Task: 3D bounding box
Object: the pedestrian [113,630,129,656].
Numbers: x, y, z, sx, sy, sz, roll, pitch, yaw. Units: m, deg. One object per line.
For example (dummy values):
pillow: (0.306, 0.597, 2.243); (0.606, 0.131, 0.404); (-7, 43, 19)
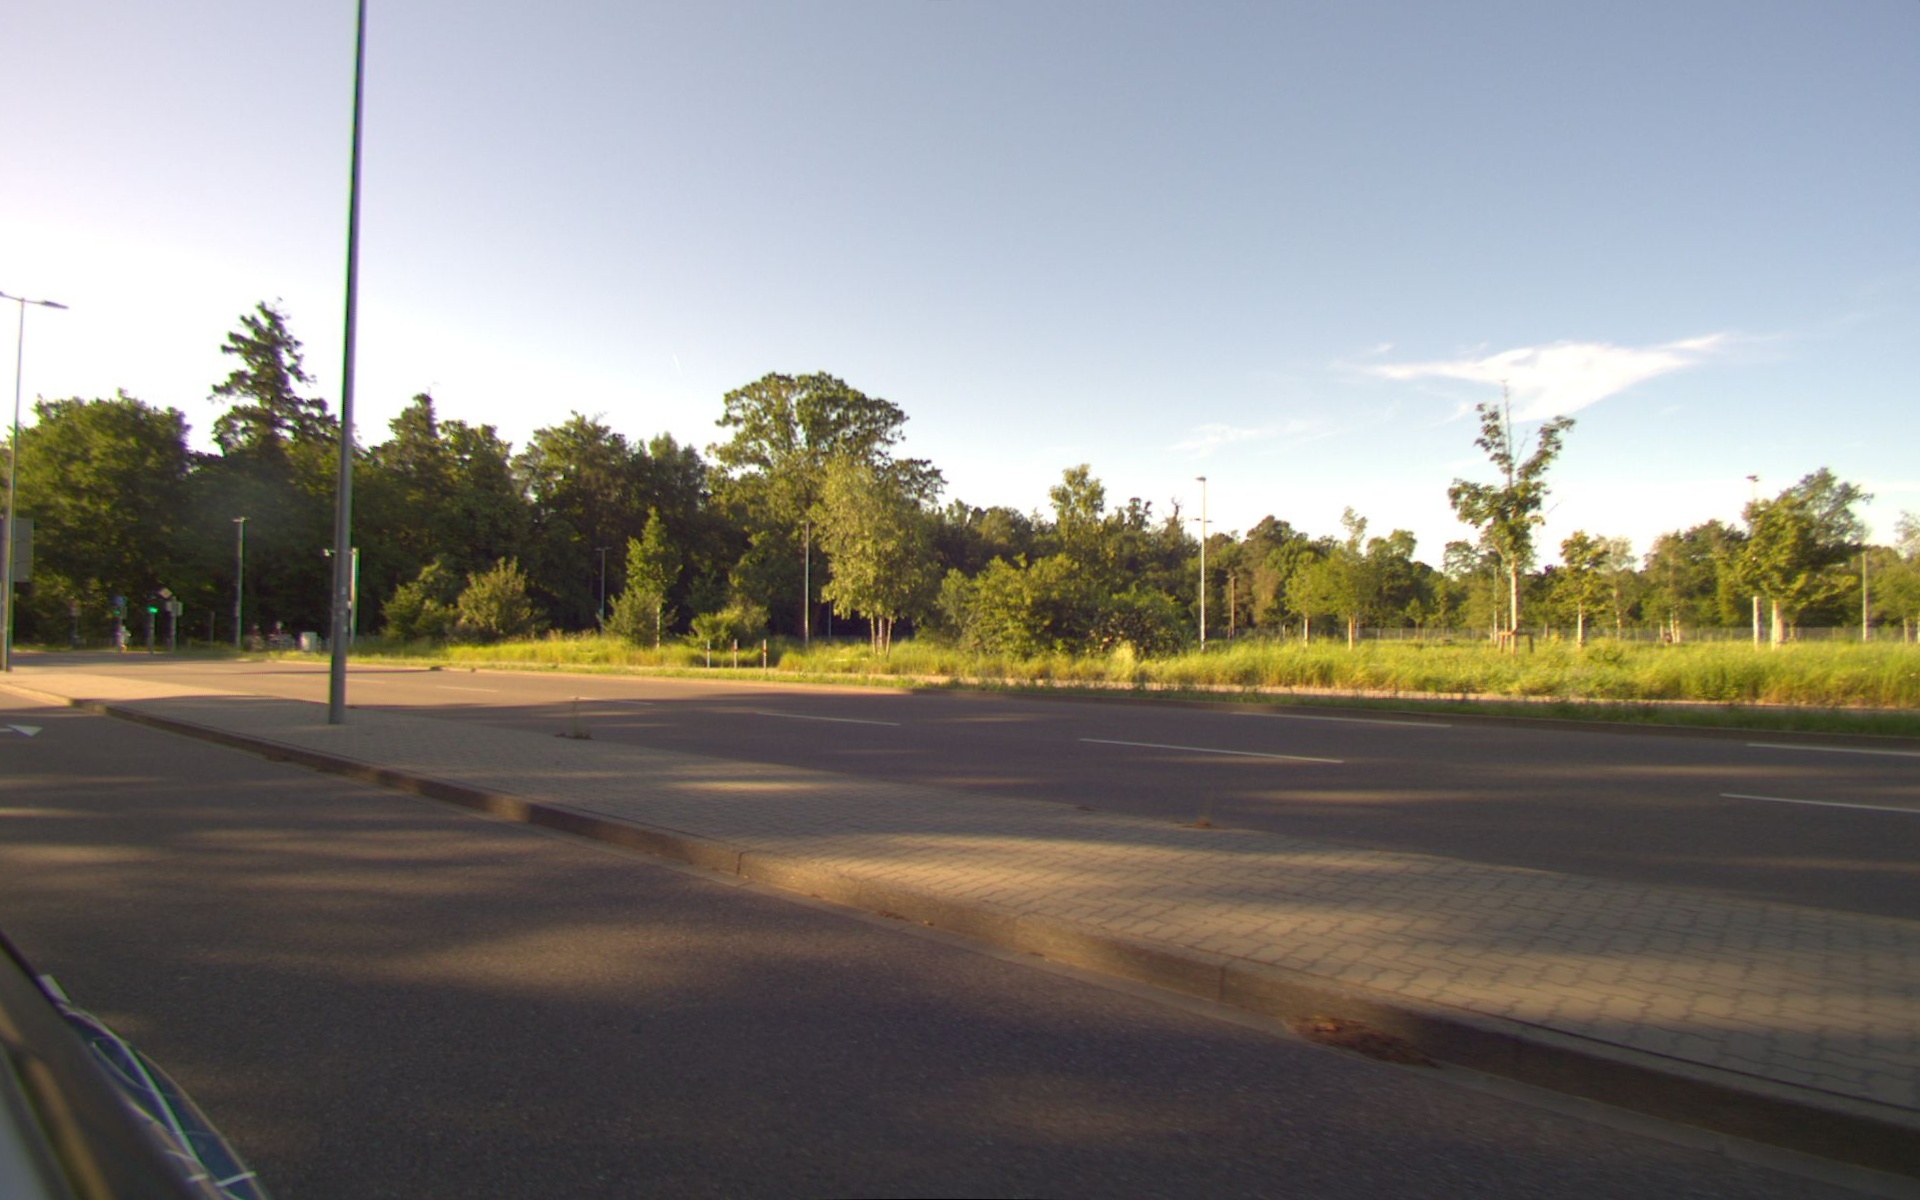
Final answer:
pedestrian: (-58.443, 3.017, 70.503); (0.733, 1.788, 0.682); (-3, -4, 42)
